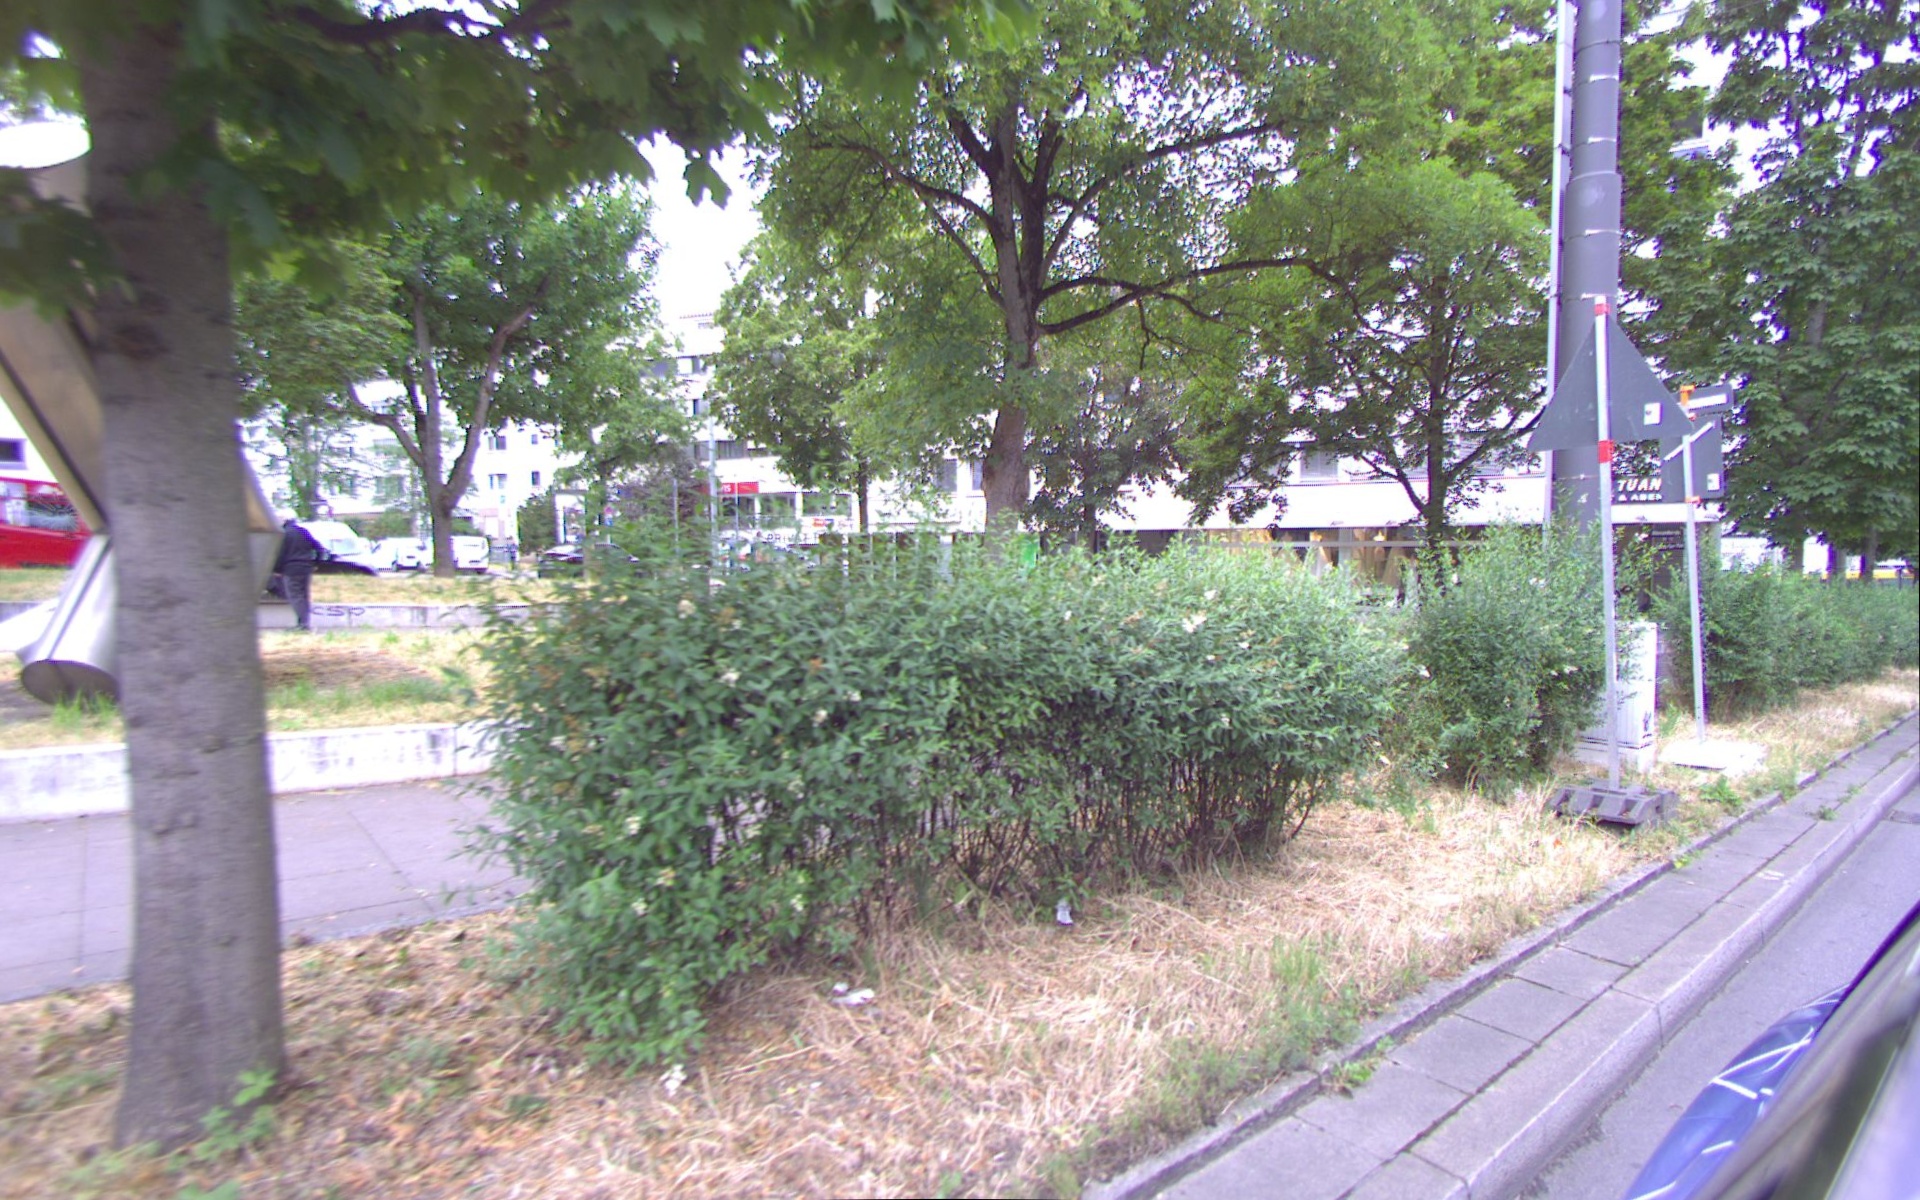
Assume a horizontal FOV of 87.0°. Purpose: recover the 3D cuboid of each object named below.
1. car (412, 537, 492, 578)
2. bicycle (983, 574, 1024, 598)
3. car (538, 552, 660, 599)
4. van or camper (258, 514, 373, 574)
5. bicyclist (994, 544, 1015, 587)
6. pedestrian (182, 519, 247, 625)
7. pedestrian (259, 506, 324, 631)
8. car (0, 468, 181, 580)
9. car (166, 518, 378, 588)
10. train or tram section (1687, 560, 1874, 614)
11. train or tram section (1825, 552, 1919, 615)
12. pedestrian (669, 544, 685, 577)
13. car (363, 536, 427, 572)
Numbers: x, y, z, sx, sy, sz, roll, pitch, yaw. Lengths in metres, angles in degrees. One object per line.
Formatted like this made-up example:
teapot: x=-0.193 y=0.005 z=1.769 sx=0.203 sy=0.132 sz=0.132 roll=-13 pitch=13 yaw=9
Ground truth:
car: x=-26.615 y=-2.196 z=52.989 sx=4.438 sy=1.909 sz=1.974 roll=-1 pitch=1 yaw=37
bicycle: x=1.666 y=-0.532 z=38.807 sx=1.534 sy=0.869 sz=0.513 roll=2 pitch=1 yaw=38
car: x=-12.781 y=-0.883 z=36.087 sx=1.733 sy=1.517 sz=4.118 roll=-2 pitch=1 yaw=23
van or camper: x=-27.903 y=-2.366 z=43.742 sx=5.404 sy=2.259 sz=2.273 roll=-2 pitch=1 yaw=35
bicyclist: x=1.703 y=-1.330 z=38.767 sx=0.593 sy=1.622 sz=0.506 roll=2 pitch=1 yaw=38
pedestrian: x=-9.597 y=-0.360 z=13.029 sx=0.609 sy=1.317 sz=0.549 roll=1 pitch=2 yaw=-43
pedestrian: x=-8.611 y=-0.407 z=13.035 sx=0.609 sy=1.561 sz=0.549 roll=1 pitch=2 yaw=-43
car: x=-19.015 y=-1.472 z=20.407 sx=2.003 sy=2.054 sz=4.950 roll=-2 pitch=0 yaw=20
car: x=-16.965 y=-1.135 z=25.201 sx=1.731 sy=1.527 sz=4.124 roll=-2 pitch=1 yaw=20
train or tram section: x=60.619 y=-0.992 z=75.566 sx=2.838 sy=3.484 sz=14.220 roll=-3 pitch=1 yaw=3
train or tram section: x=58.494 y=-1.076 z=61.559 sx=2.889 sy=3.602 sz=14.172 roll=-2 pitch=2 yaw=14
pedestrian: x=-14.654 y=-2.049 z=52.357 sx=0.567 sy=1.688 sz=0.498 roll=2 pitch=1 yaw=21
car: x=-31.636 y=-2.566 z=56.673 sx=3.638 sy=1.825 sz=1.601 roll=-2 pitch=1 yaw=33
